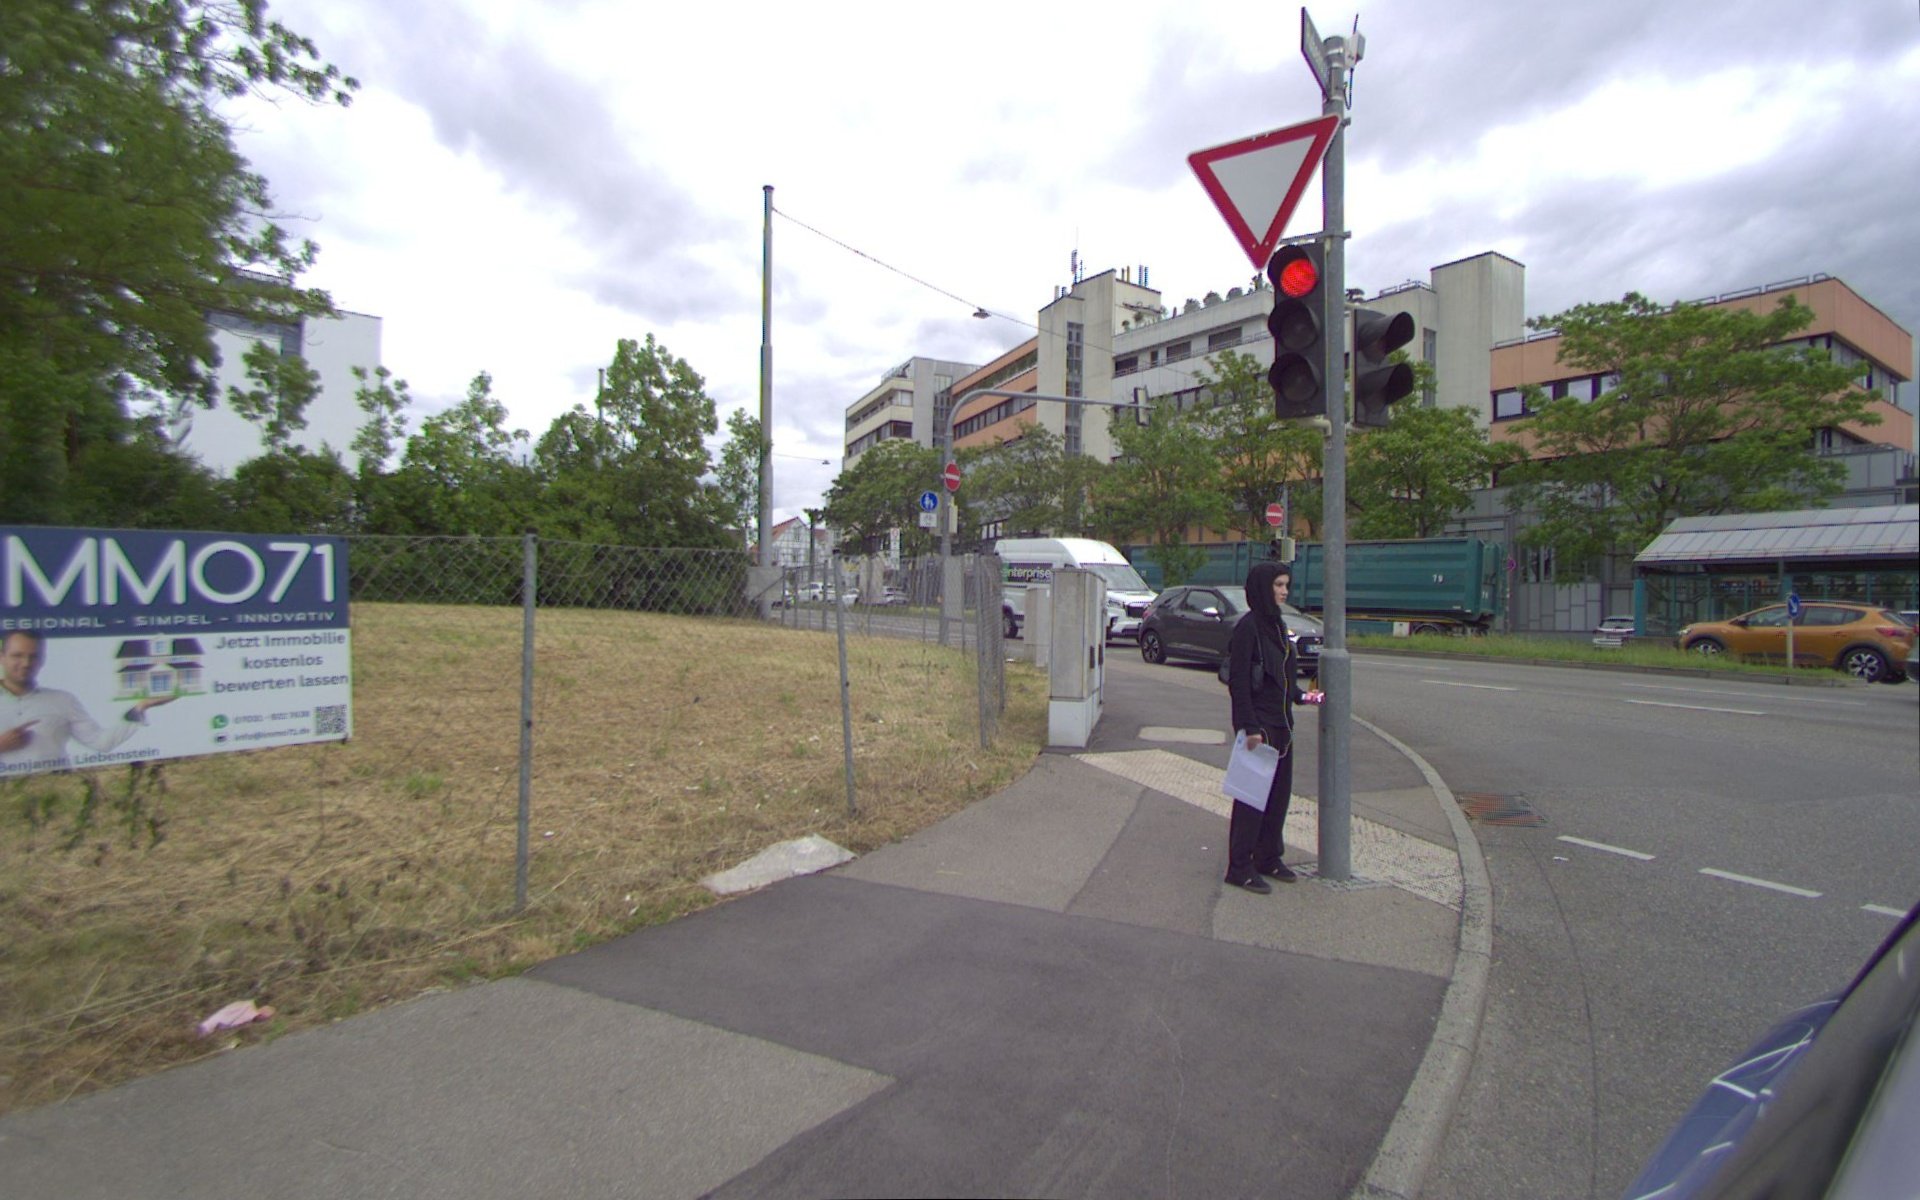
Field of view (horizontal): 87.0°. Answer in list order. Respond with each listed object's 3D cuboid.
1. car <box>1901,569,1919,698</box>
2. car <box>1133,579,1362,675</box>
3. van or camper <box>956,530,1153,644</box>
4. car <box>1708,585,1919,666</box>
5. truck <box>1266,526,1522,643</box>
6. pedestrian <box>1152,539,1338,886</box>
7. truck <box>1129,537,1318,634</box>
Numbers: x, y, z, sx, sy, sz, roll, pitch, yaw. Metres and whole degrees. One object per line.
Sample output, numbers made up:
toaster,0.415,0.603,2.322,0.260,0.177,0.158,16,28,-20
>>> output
car,14.394,0.457,11.882,1.959,1.691,4.519,0,0,-28
car,4.743,0.372,17.234,1.613,1.415,3.788,0,1,-26
van or camper,2.408,-0.477,27.876,2.213,2.705,5.948,1,3,-31
car,17.011,0.456,20.269,1.186,1.328,3.002,0,4,-31
truck,14.874,-0.519,35.503,2.668,3.628,8.184,0,0,-32
pedestrian,1.422,0.508,5.080,0.659,1.610,0.554,0,2,-32
truck,10.723,-0.579,42.120,2.668,3.628,7.951,0,0,-32
